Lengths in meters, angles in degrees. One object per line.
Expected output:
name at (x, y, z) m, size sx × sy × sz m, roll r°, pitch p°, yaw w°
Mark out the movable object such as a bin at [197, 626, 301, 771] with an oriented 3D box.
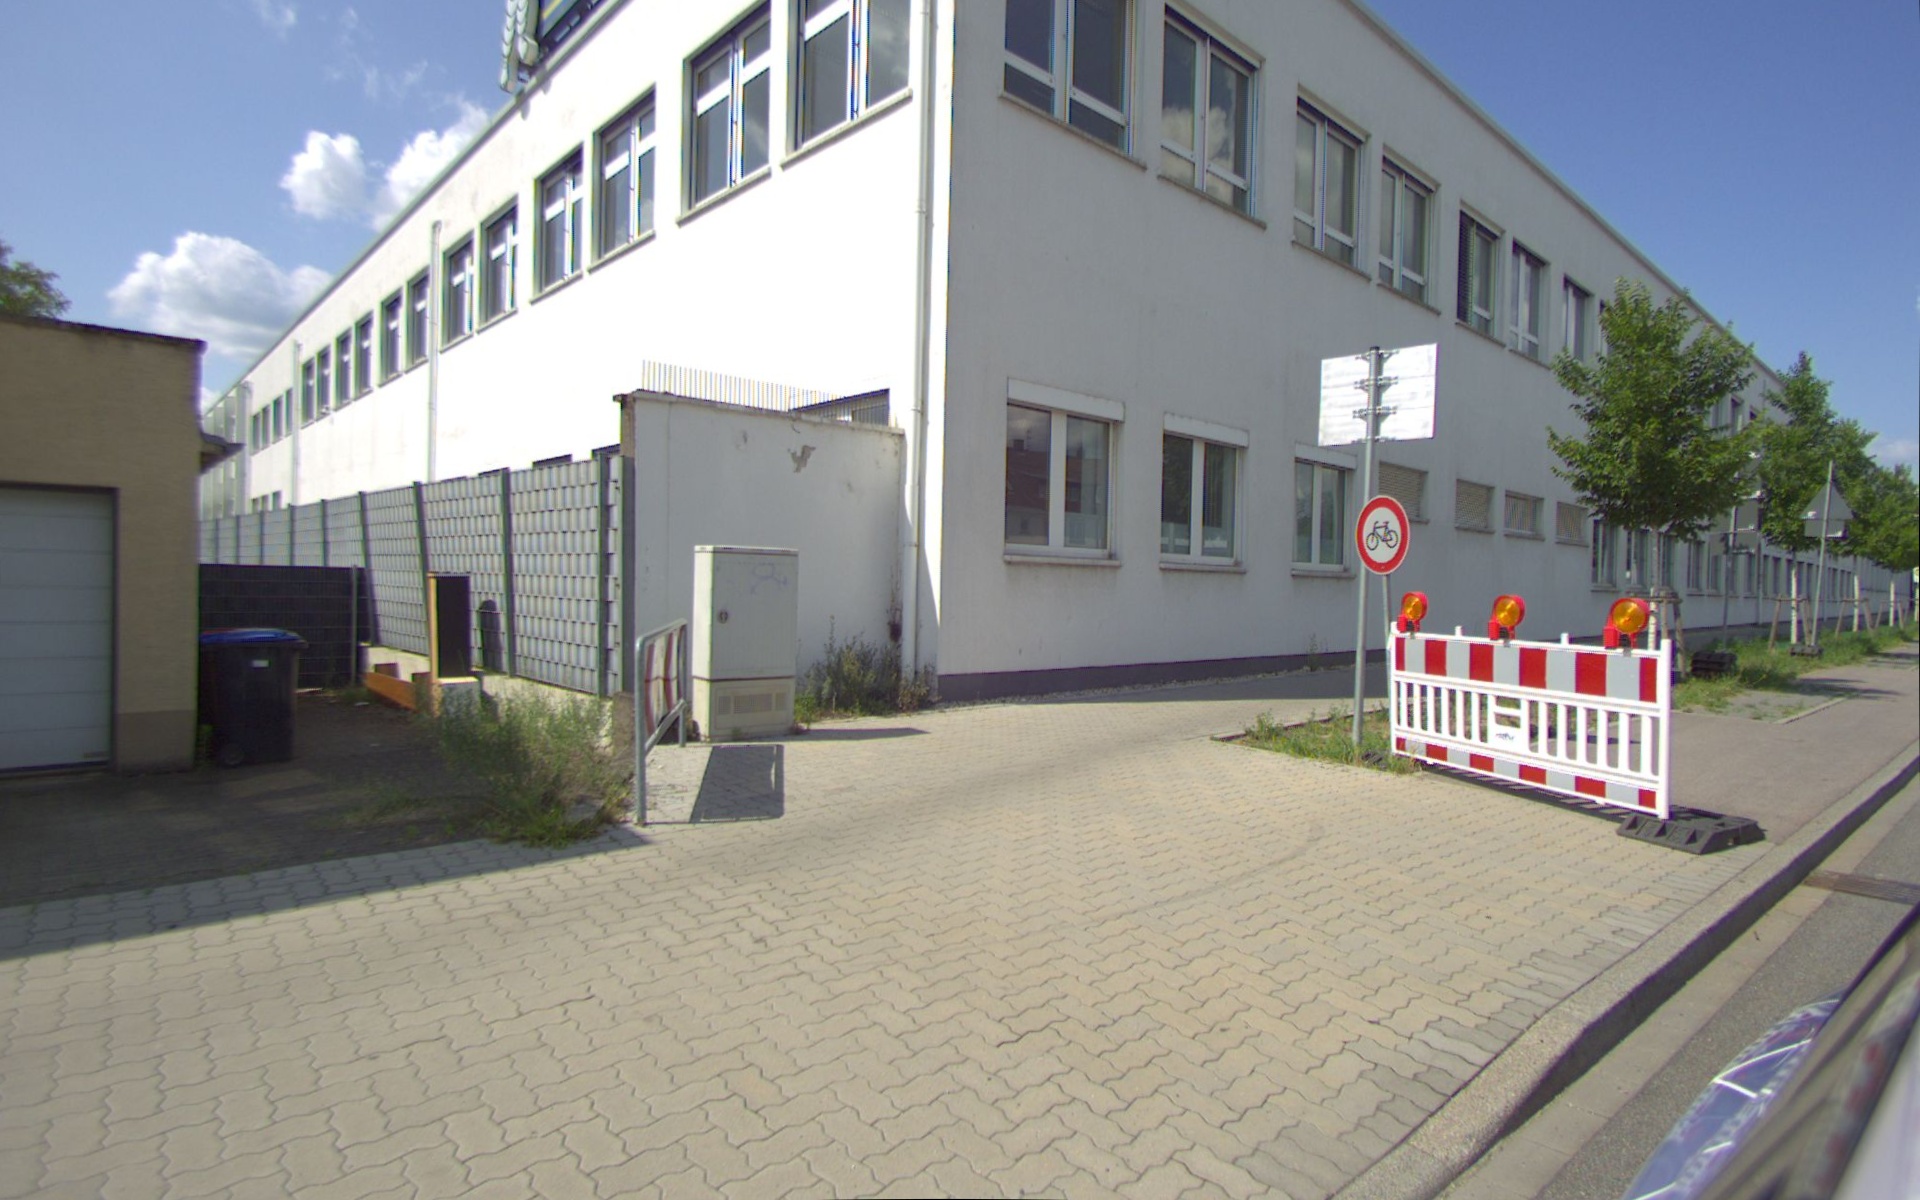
movable object such as a bin at (-5.853, 0.786, 8.368) m, size 0.653 × 1.101 × 0.616 m, roll 0°, pitch 0°, yaw -31°
